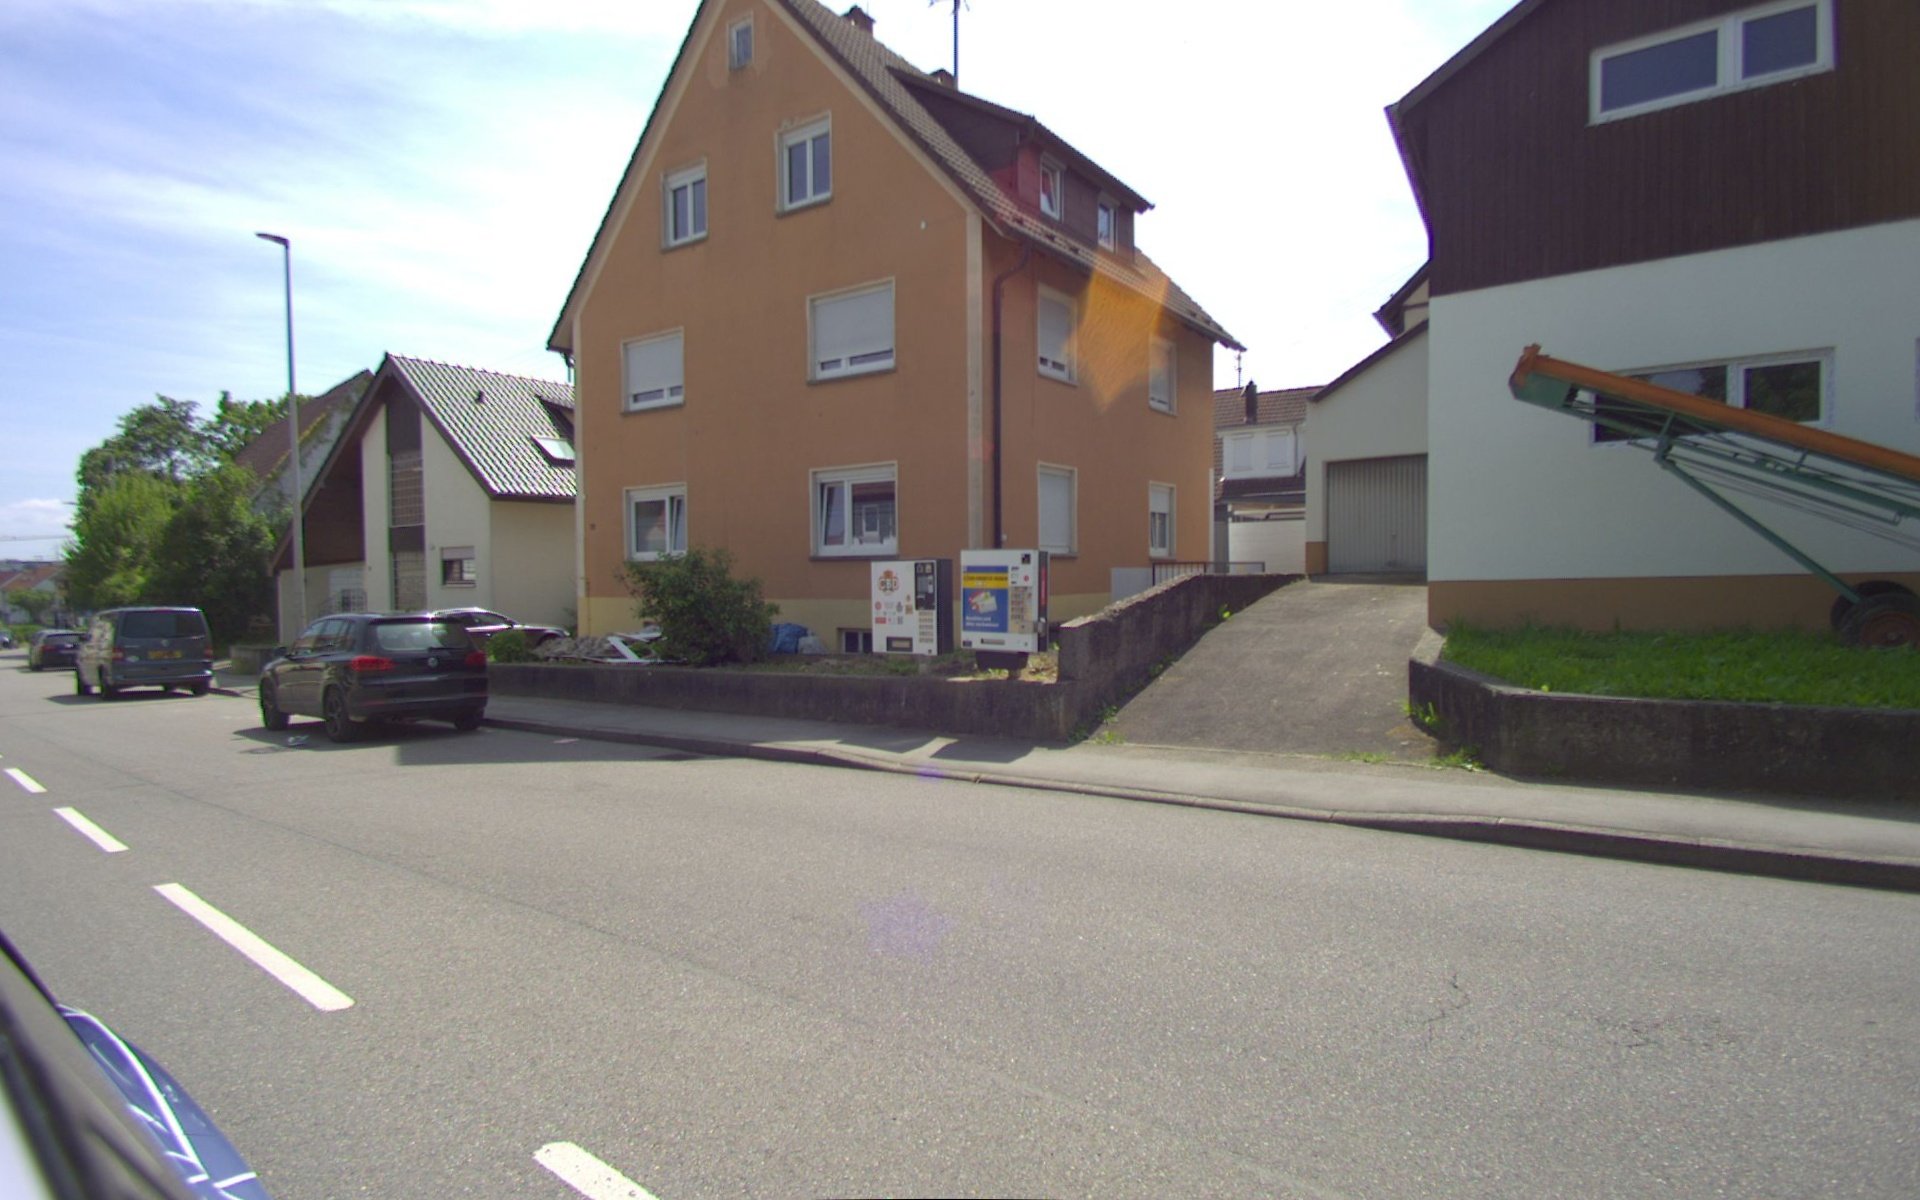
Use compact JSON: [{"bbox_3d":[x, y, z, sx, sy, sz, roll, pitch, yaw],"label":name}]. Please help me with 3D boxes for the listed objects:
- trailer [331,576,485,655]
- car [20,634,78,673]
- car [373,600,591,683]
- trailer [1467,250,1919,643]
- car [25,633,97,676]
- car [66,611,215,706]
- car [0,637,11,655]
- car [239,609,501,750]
[{"bbox_3d":[-18.129,0.467,33.344,1.999,2.027,3.794,-2,6,40],"label":"trailer"},{"bbox_3d":[-38.641,2.251,42.995,1.733,1.532,4.306,-1,-2,-41],"label":"car"},{"bbox_3d":[-11.062,0.908,23.696,1.818,1.415,4.192,-2,3,37],"label":"car"},{"bbox_3d":[7.629,-1.146,8.039,6.166,2.870,1.696,-2,0,38],"label":"trailer"},{"bbox_3d":[-34.130,2.029,38.389,1.798,1.484,4.778,0,-2,-45],"label":"car"},{"bbox_3d":[-18.758,1.255,23.082,4.984,1.952,1.871,-2,-2,42],"label":"car"},{"bbox_3d":[-82.615,3.945,86.401,1.765,1.431,4.368,-1,-1,-35],"label":"car"},{"bbox_3d":[-8.235,0.995,13.964,4.283,1.648,1.751,-2,-1,39],"label":"car"}]
